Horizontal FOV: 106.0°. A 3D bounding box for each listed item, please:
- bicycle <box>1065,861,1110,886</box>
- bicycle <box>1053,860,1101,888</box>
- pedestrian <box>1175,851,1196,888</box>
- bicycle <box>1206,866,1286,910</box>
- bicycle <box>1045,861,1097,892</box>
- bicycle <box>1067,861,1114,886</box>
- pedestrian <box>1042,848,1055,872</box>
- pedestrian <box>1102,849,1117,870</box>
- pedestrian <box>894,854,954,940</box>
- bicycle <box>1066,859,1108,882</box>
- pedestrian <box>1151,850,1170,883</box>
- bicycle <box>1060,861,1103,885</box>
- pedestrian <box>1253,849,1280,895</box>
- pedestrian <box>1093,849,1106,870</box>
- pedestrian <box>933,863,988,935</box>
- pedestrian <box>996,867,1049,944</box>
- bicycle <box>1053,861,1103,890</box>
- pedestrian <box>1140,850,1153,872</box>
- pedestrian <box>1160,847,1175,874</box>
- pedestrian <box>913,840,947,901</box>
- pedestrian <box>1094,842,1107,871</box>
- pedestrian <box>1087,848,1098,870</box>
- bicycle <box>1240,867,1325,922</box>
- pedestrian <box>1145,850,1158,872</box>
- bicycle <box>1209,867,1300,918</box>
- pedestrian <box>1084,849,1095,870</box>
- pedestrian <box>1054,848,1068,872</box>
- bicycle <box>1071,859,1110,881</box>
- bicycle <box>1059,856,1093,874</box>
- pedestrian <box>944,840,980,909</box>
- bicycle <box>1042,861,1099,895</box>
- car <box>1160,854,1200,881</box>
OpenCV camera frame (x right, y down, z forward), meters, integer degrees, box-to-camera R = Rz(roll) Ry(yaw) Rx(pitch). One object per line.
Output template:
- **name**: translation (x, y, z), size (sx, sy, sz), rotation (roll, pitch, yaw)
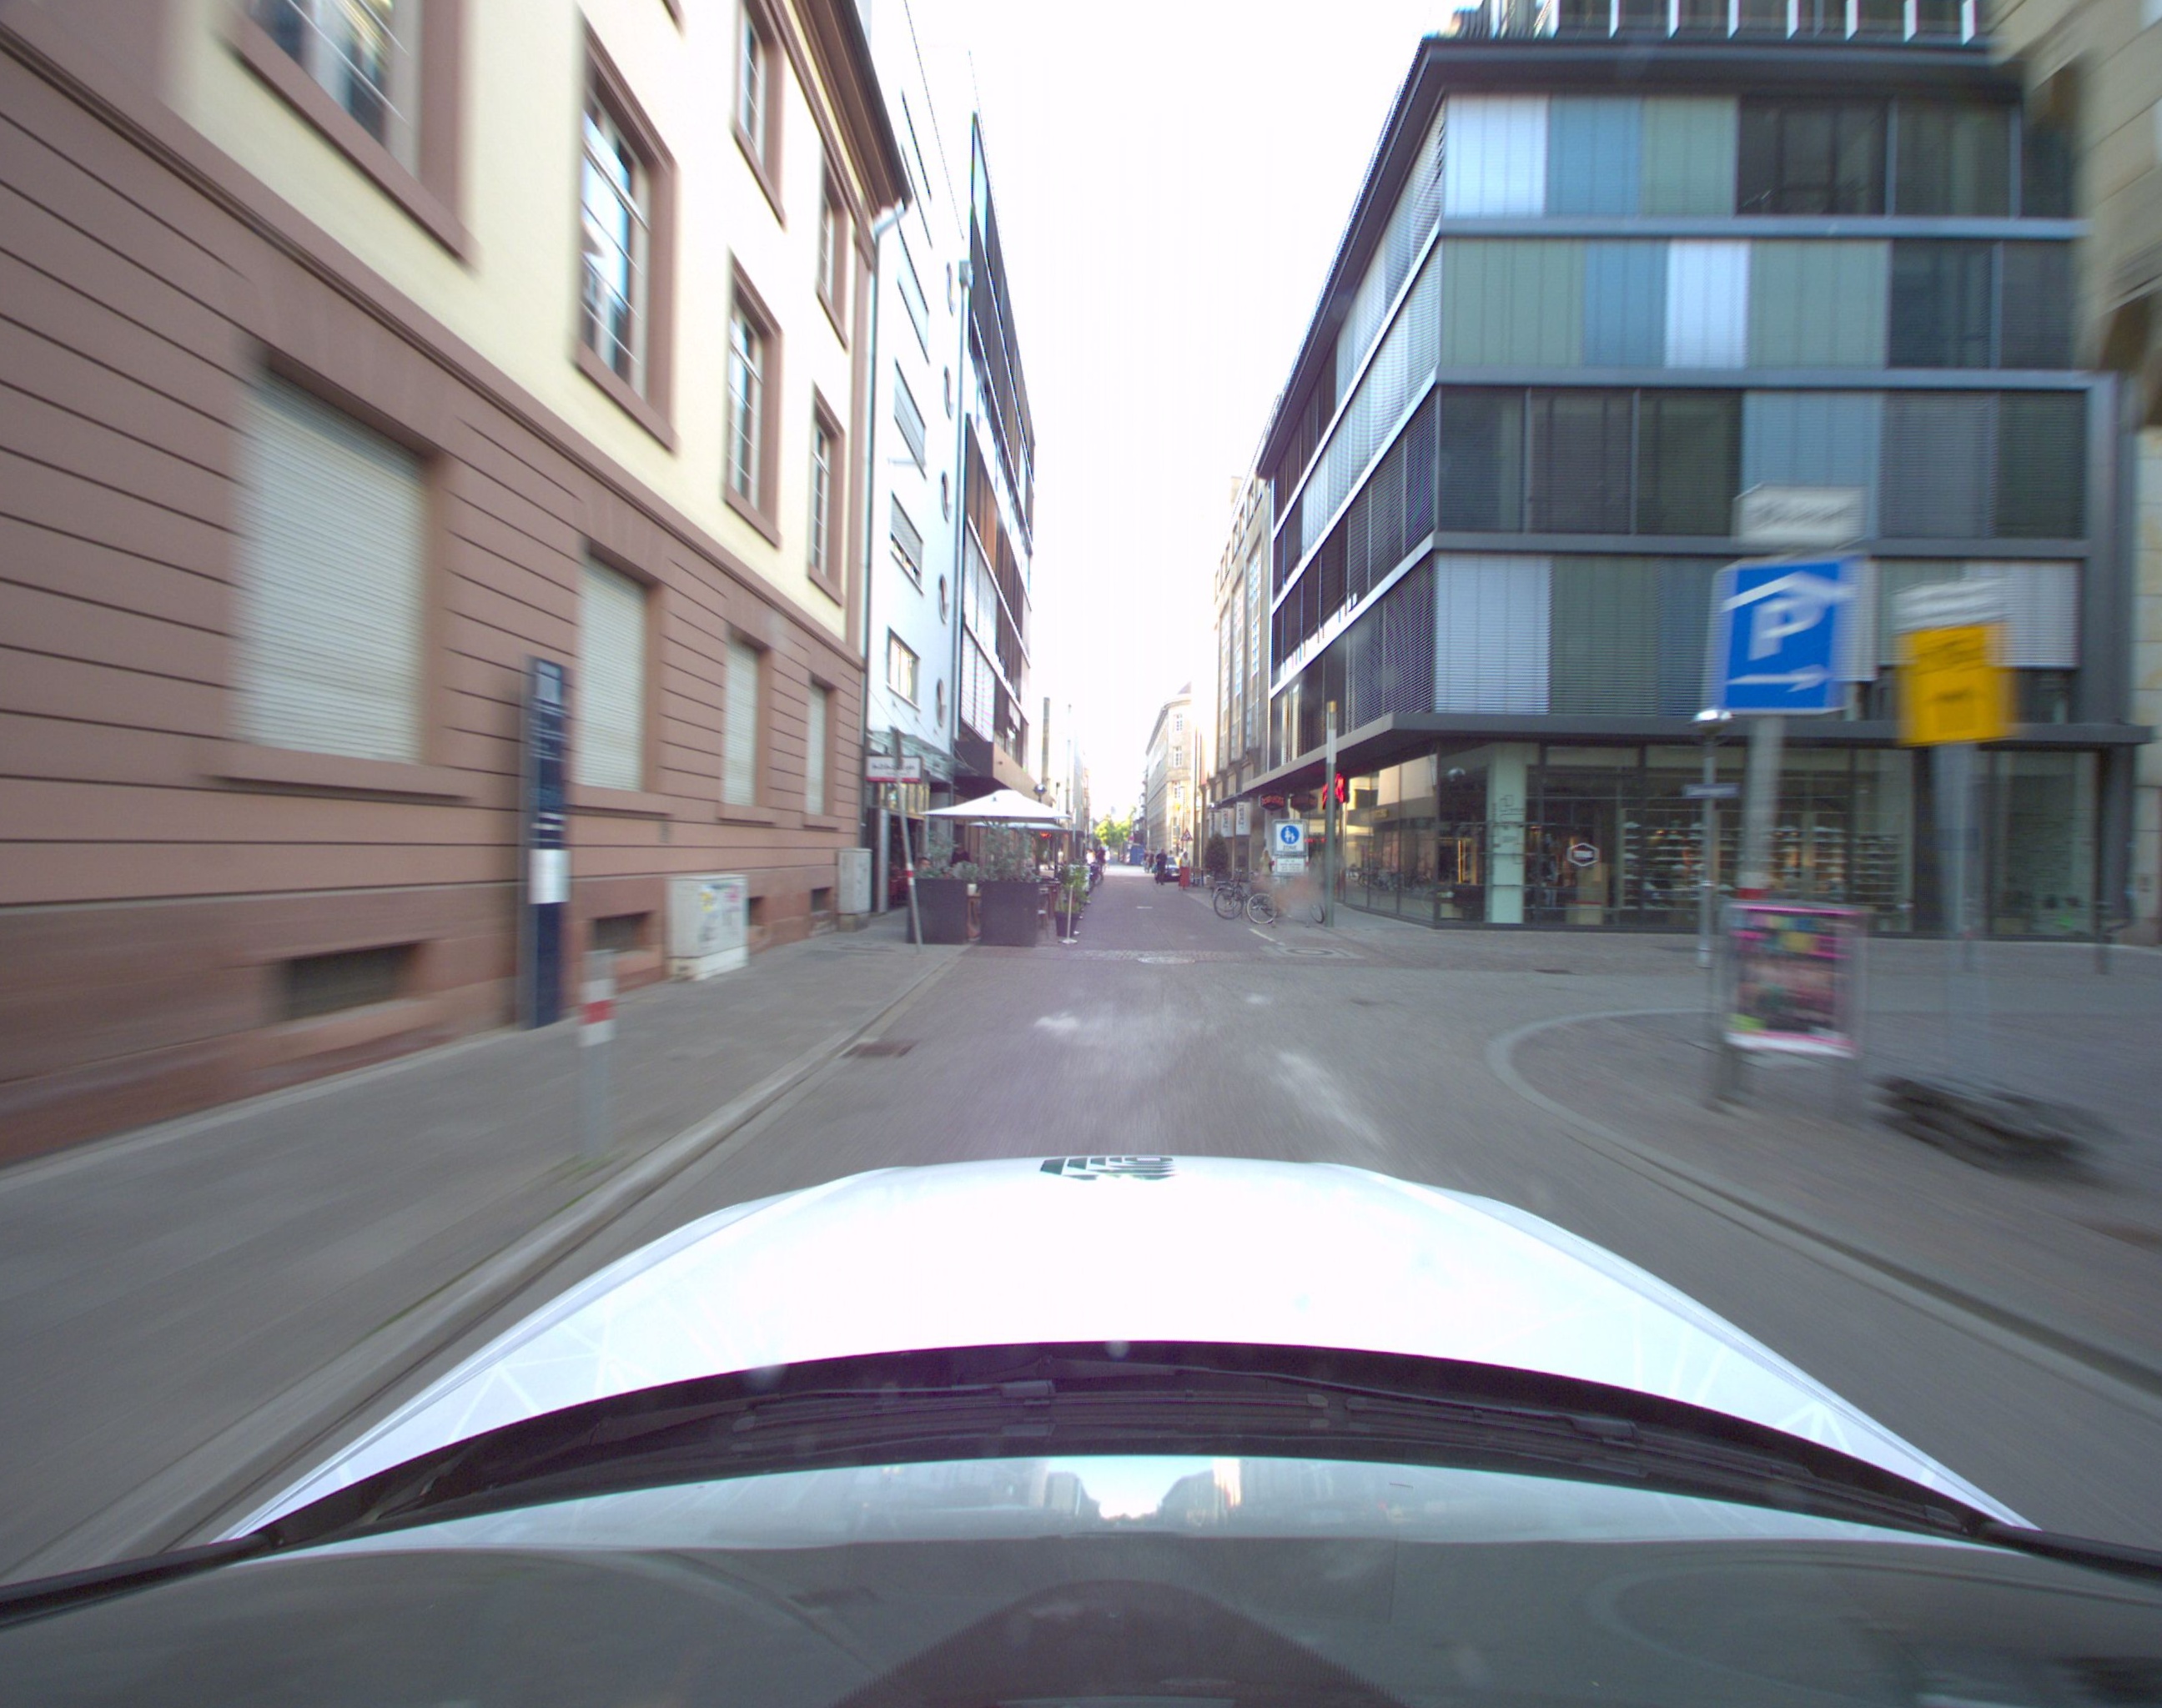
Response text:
- **bicycle**: translation (0.305, 0.913, 38.227), size (2.040, 1.016, 0.467), rotation (3, 0, 1)
- **bicycle**: translation (-0.151, 0.832, 34.032), size (1.940, 1.074, 0.467), rotation (3, 0, 1)
- **pedestrian**: translation (4.426, 0.647, 34.608), size (0.794, 1.565, 0.859), rotation (1, 0, 2)
- **bicycle**: translation (4.380, 0.894, 21.728), size (2.027, 1.121, 0.467), rotation (-1, 0, 1)
- **bicycle**: translation (-0.366, 0.848, 31.231), size (1.940, 1.074, 0.467), rotation (3, 0, 1)
- **bicycle**: translation (0.434, 0.898, 37.102), size (2.040, 1.016, 0.467), rotation (3, 0, 1)
- **pedestrian**: translation (-2.541, 0.448, 63.169), size (0.901, 1.859, 0.836), rotation (1, 0, 1)
- **pedestrian**: translation (2.355, 0.424, 67.435), size (1.001, 1.733, 0.986), rotation (1, 0, 20)
- **pedestrian**: translation (-2.548, 0.682, 13.280), size (0.787, 1.331, 0.673), rotation (2, 0, 0)
- **bicycle**: translation (0.293, 0.844, 41.081), size (2.040, 1.049, 0.467), rotation (3, 0, 1)
- **pedestrian**: translation (4.008, 0.632, 41.025), size (0.895, 1.661, 0.931), rotation (1, 0, 3)
- **bicycle**: translation (0.014, 0.910, 39.785), size (2.040, 1.049, 0.467), rotation (3, 0, 1)
- **pedestrian**: translation (6.533, 0.628, 28.695), size (0.794, 1.565, 0.860), rotation (1, 0, 4)
- **pedestrian**: translation (1.553, 0.423, 67.722), size (0.854, 1.733, 0.938), rotation (1, 0, 20)
- **pedestrian**: translation (-2.076, 0.761, 14.088), size (0.787, 1.183, 0.673), rotation (2, 0, 0)
- **pedestrian**: translation (-0.940, 0.822, 13.201), size (0.788, 1.183, 0.673), rotation (2, 0, -4)
- **bicycle**: translation (-0.124, 0.855, 32.889), size (1.940, 1.074, 0.467), rotation (3, 0, 1)
- **pedestrian**: translation (4.994, 0.532, 61.727), size (0.901, 1.661, 0.793), rotation (1, 0, -1)
- **pedestrian**: translation (5.946, 0.463, 56.057), size (0.901, 1.859, 0.836), rotation (1, 0, 0)
- **pedestrian**: translation (-4.202, 0.462, 22.619), size (0.857, 1.659, 0.796), rotation (1, 0, -15)
- **pedestrian**: translation (1.322, 0.160, 54.304), size (0.830, 1.859, 0.907), rotation (1, 0, 0)
- **pedestrian**: translation (0.978, 0.458, 70.193), size (0.901, 1.859, 0.836), rotation (1, 0, 1)
- **bicycle**: translation (4.330, 0.868, 17.532), size (1.691, 1.136, 0.467), rotation (-1, 0, 1)
- **pedestrian**: translation (5.290, 0.532, 61.036), size (0.901, 1.661, 0.793), rotation (1, 0, -1)
- **bicycle**: translation (4.032, 0.892, 19.005), size (2.002, 1.121, 0.467), rotation (-1, 0, 1)
- **pedestrian**: translation (0.776, 0.459, 71.064), size (0.901, 1.859, 0.836), rotation (1, 0, 1)
- **pedestrian**: translation (-1.583, 0.450, 63.662), size (1.021, 1.859, 0.907), rotation (1, 0, 1)
- **bicycle**: translation (0.531, 0.888, 44.416), size (2.040, 1.095, 0.467), rotation (3, 0, 1)
- **bicycle**: translation (-0.326, 0.679, 50.657), size (2.040, 1.013, 0.467), rotation (3, 0, 1)
- **pedestrian**: translation (-2.898, 0.499, 19.885), size (0.788, 1.648, 0.724), rotation (1, 0, -4)
- **bicycle**: translation (-0.371, 0.857, 28.954), size (1.940, 1.074, 0.467), rotation (3, 0, 1)
- **car**: translation (5.547, 0.739, 46.199), size (1.749, 1.441, 3.927), rotation (0, 0, -1)
